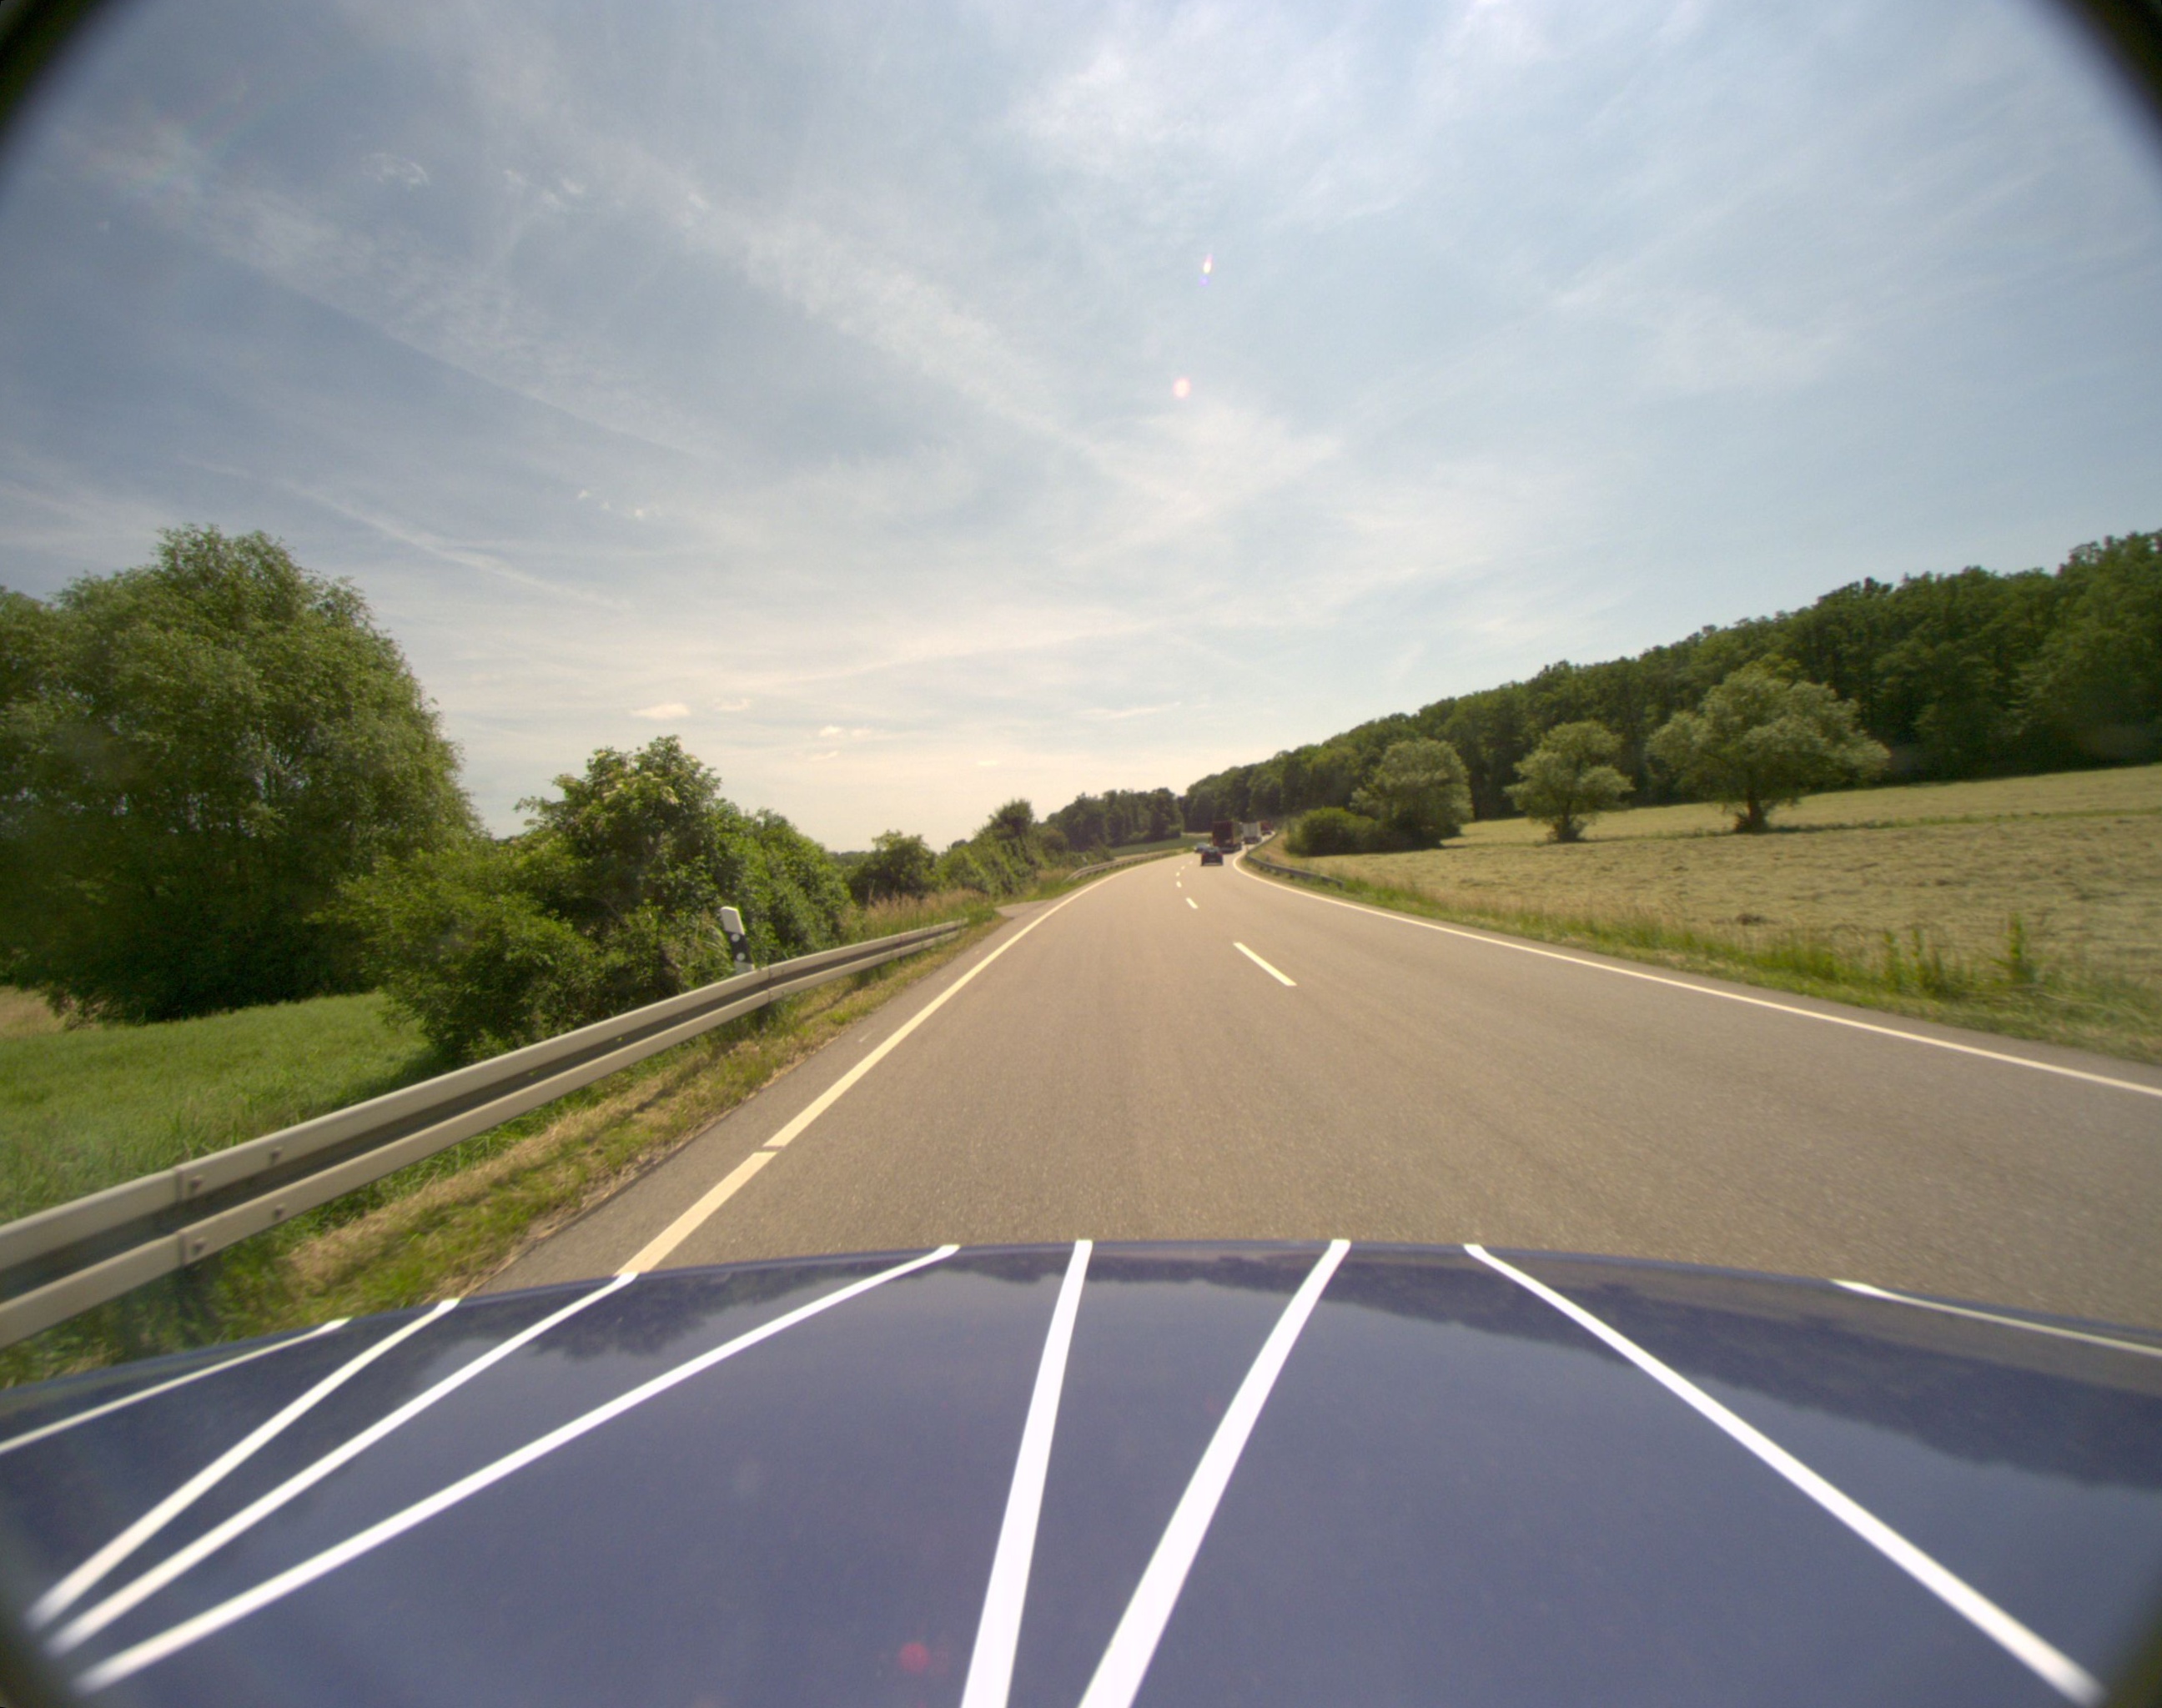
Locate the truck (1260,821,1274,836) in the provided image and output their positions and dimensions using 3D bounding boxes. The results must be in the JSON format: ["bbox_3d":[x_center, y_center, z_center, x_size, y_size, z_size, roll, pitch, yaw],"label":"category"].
[{"bbox_3d":[51.326,-7.090,209.629,2.706,3.629,10.109,-3,2,18],"label":"truck"}]

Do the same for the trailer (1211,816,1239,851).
[{"bbox_3d":[19.052,-2.706,100.667,3.247,4.126,14.451,-1,1,11],"label":"trailer"}]

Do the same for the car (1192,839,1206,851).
[{"bbox_3d":[16.385,-1.279,105.406,1.620,1.428,3.446,-4,1,14],"label":"car"}]

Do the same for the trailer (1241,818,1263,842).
[{"bbox_3d":[32.872,-4.617,145.968,3.378,4.376,13.757,-2,2,15],"label":"trailer"}]

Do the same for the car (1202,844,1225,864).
[{"bbox_3d":[10.696,-0.018,61.260,1.702,1.461,4.203,-1,1,12],"label":"car"}]
